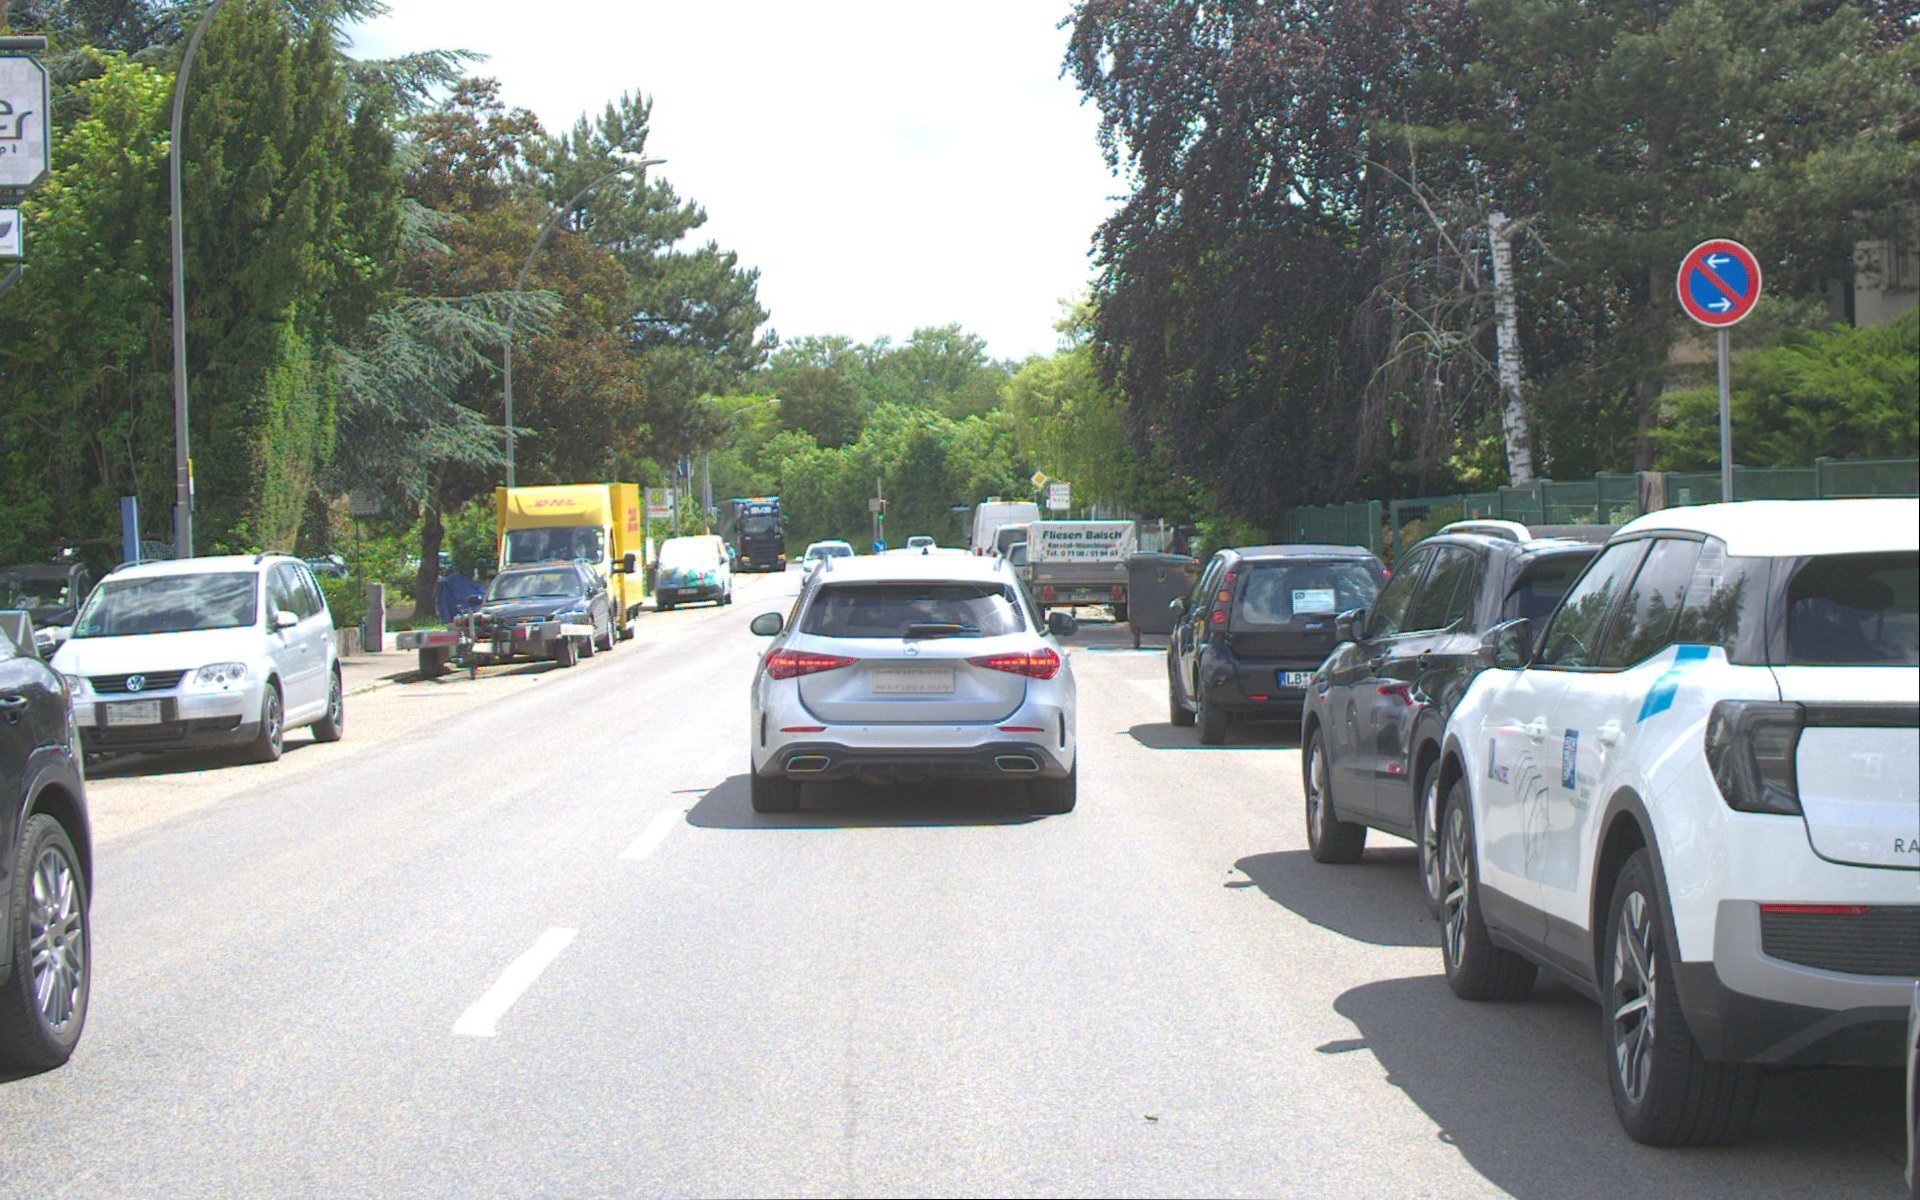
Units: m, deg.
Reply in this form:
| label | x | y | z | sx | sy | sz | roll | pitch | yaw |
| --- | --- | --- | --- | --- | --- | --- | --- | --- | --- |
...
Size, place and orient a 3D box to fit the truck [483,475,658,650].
| label | x | y | z | sx | sy | sz | roll | pitch | yaw |
| --- | --- | --- | --- | --- | --- | --- | --- | --- | --- |
| truck | -6.754 | -0.701 | 60.373 | 2.075 | 2.804 | 7.078 | -3 | 1 | 1 |

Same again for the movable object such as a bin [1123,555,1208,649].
| label | x | y | z | sx | sy | sz | roll | pitch | yaw |
| --- | --- | --- | --- | --- | --- | --- | --- | --- | --- |
| movable object such as a bin | 2.844 | 0.018 | 47.694 | 1.084 | 1.266 | 1.380 | 0 | 1 | 0 |

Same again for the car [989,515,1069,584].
| label | x | y | z | sx | sy | sz | roll | pitch | yaw |
| --- | --- | --- | --- | --- | --- | --- | --- | --- | --- |
| car | 1.749 | -1.282 | 88.490 | 1.784 | 1.709 | 4.317 | -1 | 0 | -2 |

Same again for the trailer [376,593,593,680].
| label | x | y | z | sx | sy | sz | roll | pitch | yaw |
| --- | --- | --- | --- | --- | --- | --- | --- | --- | --- |
| trailer | -6.227 | 0.449 | 45.666 | 2.228 | 0.921 | 5.949 | -1 | 1 | -2 |

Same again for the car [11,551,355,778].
| label | x | y | z | sx | sy | sz | roll | pitch | yaw |
| --- | --- | --- | --- | --- | --- | --- | --- | --- | --- |
| car | -6.215 | 0.451 | 27.982 | 1.792 | 1.598 | 4.364 | -3 | 1 | -1 |

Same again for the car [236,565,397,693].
| label | x | y | z | sx | sy | sz | roll | pitch | yaw |
| --- | --- | --- | --- | --- | --- | --- | --- | --- | --- |
| car | -10.732 | 0.454 | 57.567 | 1.993 | 2.007 | 4.000 | 1 | 1 | -1 |

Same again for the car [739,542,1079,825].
| label | x | y | z | sx | sy | sz | roll | pitch | yaw |
| --- | --- | --- | --- | --- | --- | --- | --- | --- | --- |
| car | -0.361 | 0.426 | 20.349 | 1.784 | 1.479 | 4.317 | -1 | 0 | -2 |

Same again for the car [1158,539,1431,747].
| label | x | y | z | sx | sy | sz | roll | pitch | yaw |
| --- | --- | --- | --- | --- | --- | --- | --- | --- | --- |
| car | 2.525 | 0.281 | 26.736 | 1.689 | 1.445 | 3.848 | -2 | 1 | 0 |

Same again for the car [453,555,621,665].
| label | x | y | z | sx | sy | sz | roll | pitch | yaw |
| --- | --- | --- | --- | --- | --- | --- | --- | --- | --- |
| car | -6.391 | 0.110 | 52.420 | 2.075 | 1.473 | 4.457 | -3 | 1 | -2 |

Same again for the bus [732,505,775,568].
| label | x | y | z | sx | sy | sz | roll | pitch | yaw |
| --- | --- | --- | --- | --- | --- | --- | --- | --- | --- |
| bus | -11.287 | -3.464 | 187.546 | 1.993 | 3.353 | 6.984 | 0 | 1 | -6 |

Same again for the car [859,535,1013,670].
| label | x | y | z | sx | sy | sz | roll | pitch | yaw |
| --- | --- | --- | --- | --- | --- | --- | --- | --- | --- |
| car | -0.346 | -0.014 | 42.645 | 1.755 | 1.553 | 4.001 | -1 | 1 | -2 |

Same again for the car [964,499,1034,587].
| label | x | y | z | sx | sy | sz | roll | pitch | yaw |
| --- | --- | --- | --- | --- | --- | --- | --- | --- | --- |
| car | 1.121 | -1.653 | 100.646 | 1.784 | 2.510 | 4.317 | -1 | 0 | -2 |

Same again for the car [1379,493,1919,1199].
| label | x | y | z | sx | sy | sz | roll | pitch | yaw |
| --- | --- | --- | --- | --- | --- | --- | --- | --- | --- |
| car | 2.466 | 0.484 | 9.909 | 1.791 | 1.546 | 4.574 | -3 | 1 | -1 |

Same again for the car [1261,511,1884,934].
| label | x | y | z | sx | sy | sz | roll | pitch | yaw |
| --- | --- | --- | --- | --- | --- | --- | --- | --- | --- |
| car | 2.518 | 0.436 | 15.124 | 1.689 | 1.546 | 4.086 | -2 | 1 | -4 |

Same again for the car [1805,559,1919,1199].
| label | x | y | z | sx | sy | sz | roll | pitch | yaw |
| --- | --- | --- | --- | --- | --- | --- | --- | --- | --- |
| car | 2.624 | 0.652 | 4.535 | 1.791 | 1.445 | 4.364 | -3 | 1 | -1 |

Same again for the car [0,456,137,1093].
| label | x | y | z | sx | sy | sz | roll | pitch | yaw |
| --- | --- | --- | --- | --- | --- | --- | --- | --- | --- |
| car | -3.638 | 0.531 | 8.485 | 1.993 | 1.727 | 4.548 | -3 | 1 | 1 |

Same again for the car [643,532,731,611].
| label | x | y | z | sx | sy | sz | roll | pitch | yaw |
| --- | --- | --- | --- | --- | --- | --- | --- | --- | --- |
| car | -7.089 | -0.777 | 89.632 | 1.934 | 1.912 | 4.364 | -3 | 1 | -1 |

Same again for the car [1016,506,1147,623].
| label | x | y | z | sx | sy | sz | roll | pitch | yaw |
| --- | --- | --- | --- | --- | --- | --- | --- | --- | --- |
| car | 2.181 | -0.666 | 63.089 | 2.144 | 1.977 | 5.261 | -2 | 1 | 0 |

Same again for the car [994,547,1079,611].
| label | x | y | z | sx | sy | sz | roll | pitch | yaw |
| --- | --- | --- | --- | --- | --- | --- | --- | --- | --- |
| car | 1.832 | -0.506 | 83.342 | 1.784 | 1.479 | 4.317 | -1 | 0 | -2 |

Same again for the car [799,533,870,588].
| label | x | y | z | sx | sy | sz | roll | pitch | yaw |
| --- | --- | --- | --- | --- | --- | --- | --- | --- | --- |
| car | -3.651 | -1.183 | 100.745 | 1.934 | 1.487 | 4.364 | -3 | 1 | -1 |

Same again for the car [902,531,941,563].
| label | x | y | z | sx | sy | sz | roll | pitch | yaw |
| --- | --- | --- | --- | --- | --- | --- | --- | --- | --- |
| car | -1.976 | -2.706 | 175.326 | 1.755 | 1.553 | 4.001 | -1 | 1 | -4 |
